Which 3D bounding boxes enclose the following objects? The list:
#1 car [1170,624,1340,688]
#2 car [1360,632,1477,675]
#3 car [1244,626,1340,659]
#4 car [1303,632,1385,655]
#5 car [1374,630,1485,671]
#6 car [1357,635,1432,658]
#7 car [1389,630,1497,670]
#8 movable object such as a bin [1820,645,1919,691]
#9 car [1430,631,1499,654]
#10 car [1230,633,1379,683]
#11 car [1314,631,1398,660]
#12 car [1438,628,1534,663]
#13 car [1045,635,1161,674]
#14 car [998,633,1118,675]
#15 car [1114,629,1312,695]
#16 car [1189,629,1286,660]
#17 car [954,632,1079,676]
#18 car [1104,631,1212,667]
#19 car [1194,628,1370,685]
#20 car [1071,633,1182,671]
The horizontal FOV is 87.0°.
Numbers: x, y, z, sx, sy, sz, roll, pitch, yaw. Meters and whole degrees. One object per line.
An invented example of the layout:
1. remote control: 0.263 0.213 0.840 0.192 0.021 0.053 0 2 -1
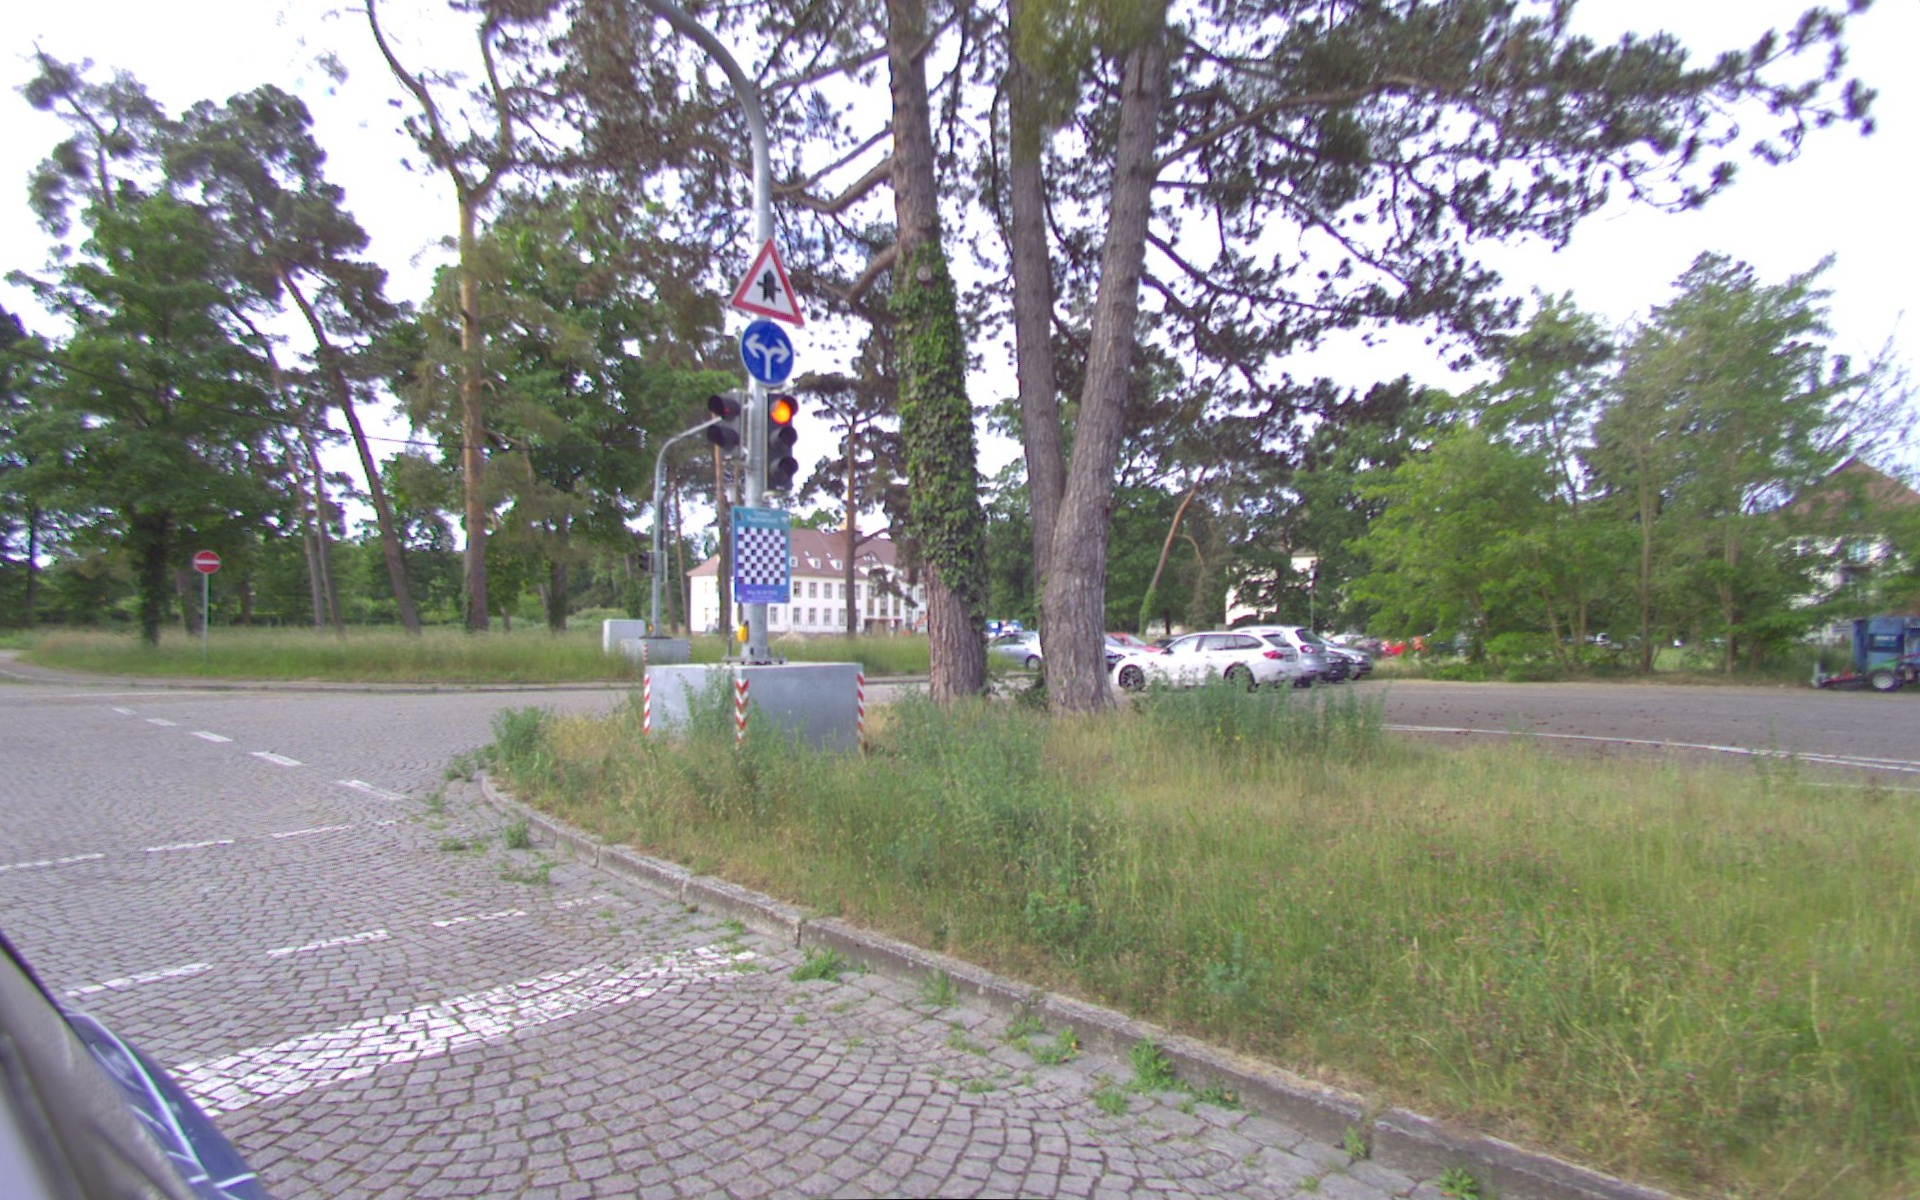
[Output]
1. car: 7.634 1.463 26.342 3.894 1.532 1.653 -3 -4 39
2. car: 16.798 1.931 37.139 3.589 1.486 1.658 -1 -2 39
3. car: 17.864 2.267 54.599 4.580 1.736 1.805 -1 -2 41
4. car: 23.300 2.620 61.510 4.400 1.361 1.688 -1 -2 41
5. car: 17.959 1.906 38.791 3.589 1.486 1.658 -1 -2 39
6. car: 29.812 3.178 69.442 4.400 1.486 1.805 -1 -2 41
7. car: 19.176 1.952 40.256 3.589 1.486 1.658 -1 -2 39
8. movable object such as a bin: 21.078 1.543 23.162 1.953 0.976 1.431 -1 -2 34
9. car: 39.942 3.326 80.227 1.802 1.736 4.589 2 -2 -40
10. car: 10.494 1.730 30.984 4.033 1.410 1.616 -1 -2 39
11. car: 24.941 2.850 63.867 4.580 1.736 1.805 -1 -2 41
12. car: 23.678 2.013 45.604 3.589 1.486 1.658 -1 -2 39
13. car: 5.761 2.177 41.073 4.397 1.486 1.806 -1 -2 39
14. car: 3.770 2.054 39.282 4.397 1.486 1.806 -1 -2 39
15. car: 6.045 1.437 24.442 4.316 1.436 1.806 -1 -2 39
16. car: 13.961 2.238 51.107 4.395 1.486 1.807 -1 -2 37
17. car: 2.034 1.946 37.358 4.397 1.486 1.806 -1 -2 39
18. car: 8.704 2.145 44.702 4.397 1.486 1.806 -1 -2 39
19. car: 9.043 1.535 28.587 4.397 1.486 1.806 -1 -2 39
20. car: 7.057 2.169 43.111 4.397 1.486 1.806 -1 -2 39
